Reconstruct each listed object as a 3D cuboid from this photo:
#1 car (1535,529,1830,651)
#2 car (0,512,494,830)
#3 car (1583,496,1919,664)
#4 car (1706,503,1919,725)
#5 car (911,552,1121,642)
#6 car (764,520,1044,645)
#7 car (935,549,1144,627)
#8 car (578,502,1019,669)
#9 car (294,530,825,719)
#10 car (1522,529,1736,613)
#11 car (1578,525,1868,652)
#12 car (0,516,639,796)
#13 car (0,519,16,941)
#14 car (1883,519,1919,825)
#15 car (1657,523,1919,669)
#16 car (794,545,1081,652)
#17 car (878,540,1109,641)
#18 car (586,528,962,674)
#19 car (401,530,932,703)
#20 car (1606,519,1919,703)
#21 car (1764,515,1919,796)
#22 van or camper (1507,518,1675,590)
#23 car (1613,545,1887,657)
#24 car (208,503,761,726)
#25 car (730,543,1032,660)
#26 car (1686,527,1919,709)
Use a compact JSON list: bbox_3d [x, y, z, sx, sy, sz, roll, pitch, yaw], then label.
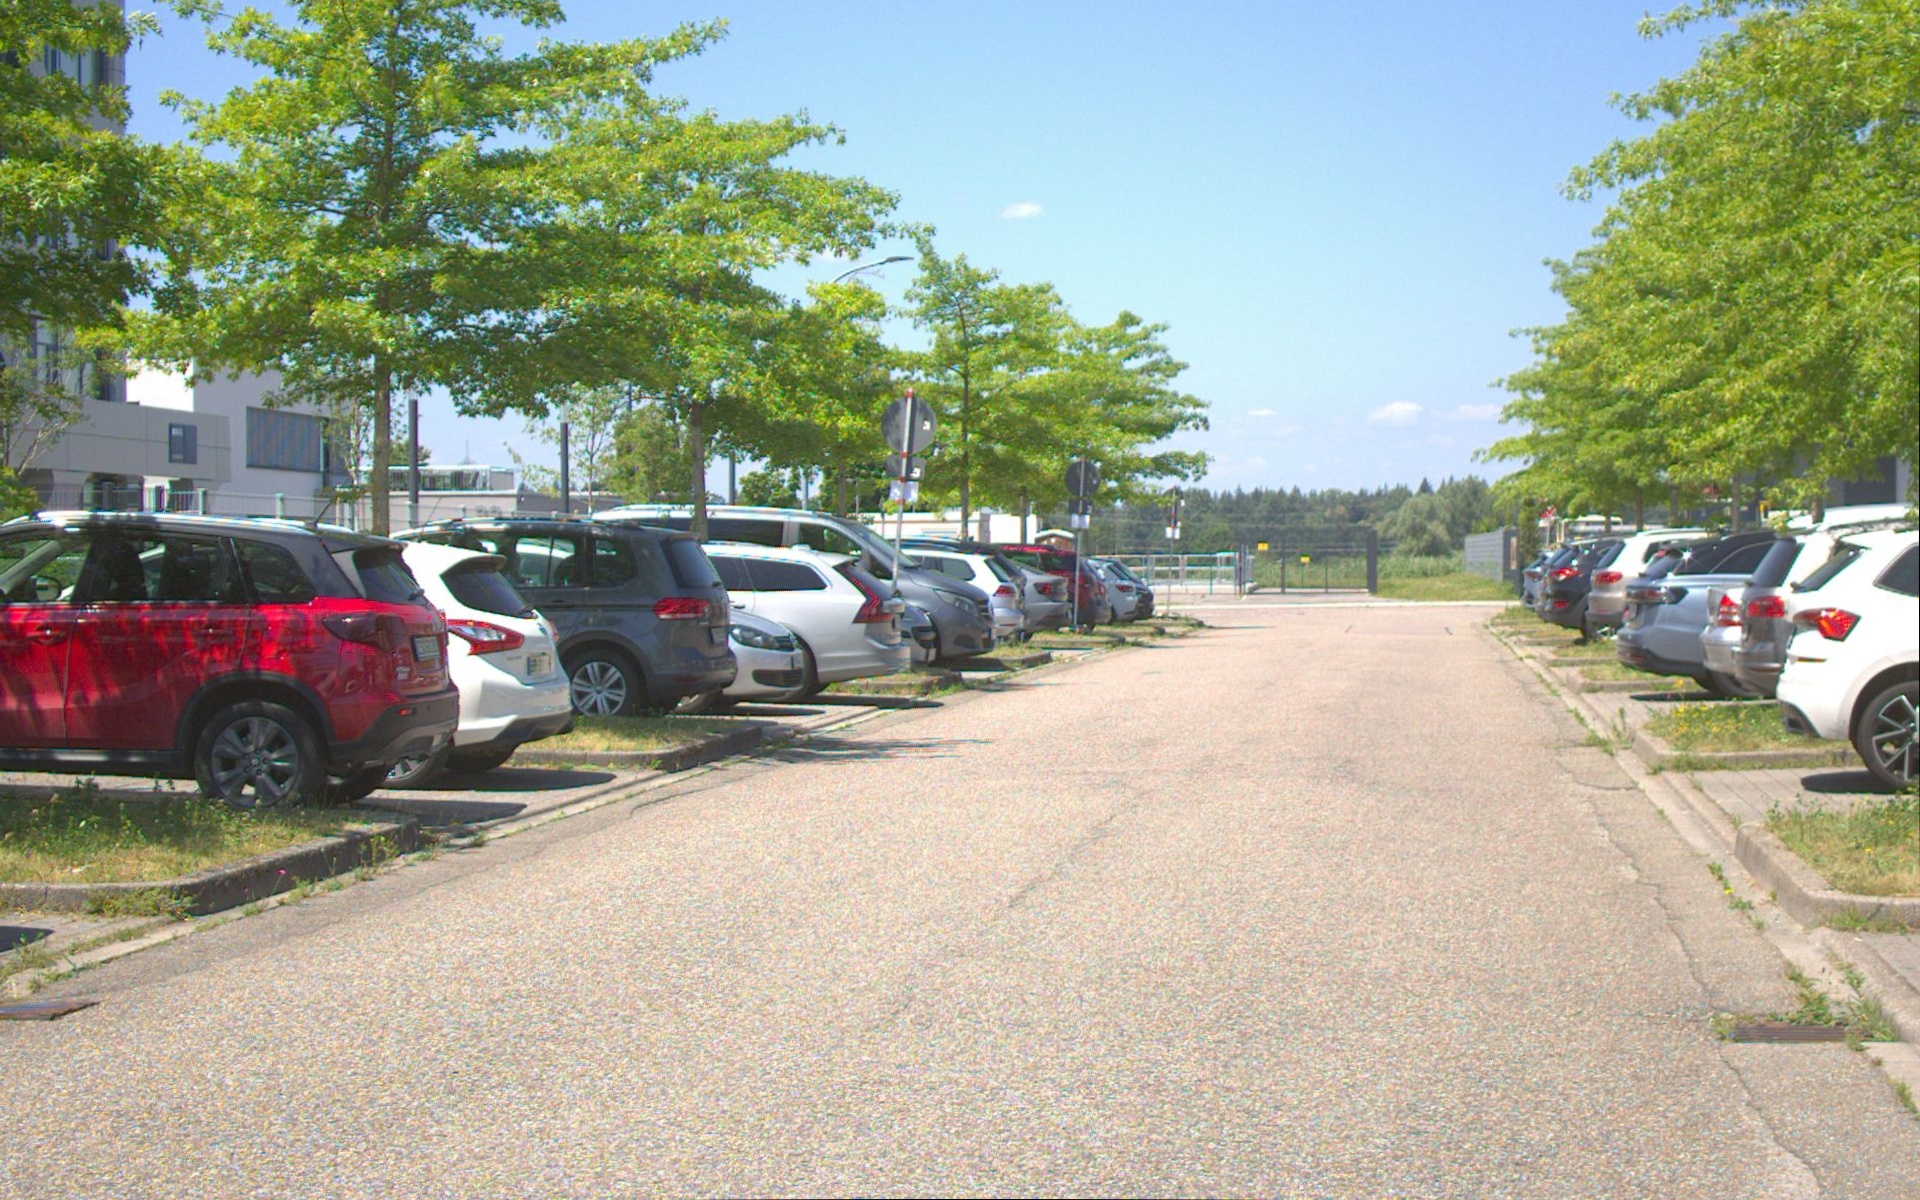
[{"bbox_3d":[10.863,-0.157,51.926,4.174,1.690,1.782,-2,0,7],"label":"car"},{"bbox_3d":[-4.665,0.332,18.908,3.839,1.586,1.727,2,1,6],"label":"car"},{"bbox_3d":[9.641,-0.242,40.567,4.404,1.824,1.795,-2,0,9],"label":"car"},{"bbox_3d":[7.869,0.059,26.366,4.048,1.619,1.692,-2,0,8],"label":"car"},{"bbox_3d":[1.034,-0.067,61.971,3.657,1.503,1.731,2,1,4],"label":"car"},{"bbox_3d":[-0.799,-0.271,50.847,3.987,1.673,1.777,2,1,3],"label":"car"},{"bbox_3d":[1.616,-0.243,68.858,4.076,1.419,1.873,2,1,4],"label":"car"},{"bbox_3d":[-1.944,-0.193,42.186,5.072,1.885,1.996,1,1,9],"label":"car"},{"bbox_3d":[-3.457,0.188,30.084,4.312,1.468,1.727,2,1,6],"label":"car"},{"bbox_3d":[14.066,-0.606,72.497,4.280,1.638,1.850,-2,0,8],"label":"car"},{"bbox_3d":[10.864,-0.166,49.193,3.876,1.672,1.782,-2,0,8],"label":"car"},{"bbox_3d":[-4.286,0.304,21.560,4.174,1.508,1.806,2,2,9],"label":"car"},{"bbox_3d":[-5.624,0.443,12.363,3.907,1.586,1.727,2,1,7],"label":"car"},{"bbox_3d":[6.711,0.328,17.181,3.835,1.519,1.779,-1,1,8],"label":"car"},{"bbox_3d":[9.633,-0.058,38.082,3.632,1.498,1.675,-2,0,9],"label":"car"},{"bbox_3d":[-0.329,-0.035,53.189,4.194,1.475,1.712,2,1,8],"label":"car"},{"bbox_3d":[0.606,-0.175,59.390,3.739,1.616,1.816,2,1,8],"label":"car"},{"bbox_3d":[-2.093,-0.006,39.261,3.970,1.479,1.763,2,1,8],"label":"car"},{"bbox_3d":[-2.714,0.133,32.459,4.714,1.442,1.857,2,1,5],"label":"car"},{"bbox_3d":[8.421,0.056,31.393,4.717,1.555,1.913,-2,0,4],"label":"car"},{"bbox_3d":[6.577,0.275,19.644,3.837,1.548,1.778,-1,1,13],"label":"car"},{"bbox_3d":[19.281,-1.413,105.255,4.937,2.156,2.000,0,1,7],"label":"van or camper"},{"bbox_3d":[10.747,0.010,46.966,3.458,1.412,1.754,-2,0,7],"label":"car"},{"bbox_3d":[-3.825,0.094,27.986,4.118,1.629,1.727,2,1,7],"label":"car"},{"bbox_3d":[-1.078,0.010,48.091,4.038,1.456,1.604,2,1,5],"label":"car"},{"bbox_3d":[8.244,0.108,28.891,4.048,1.448,1.645,-2,0,8],"label":"car"}]
